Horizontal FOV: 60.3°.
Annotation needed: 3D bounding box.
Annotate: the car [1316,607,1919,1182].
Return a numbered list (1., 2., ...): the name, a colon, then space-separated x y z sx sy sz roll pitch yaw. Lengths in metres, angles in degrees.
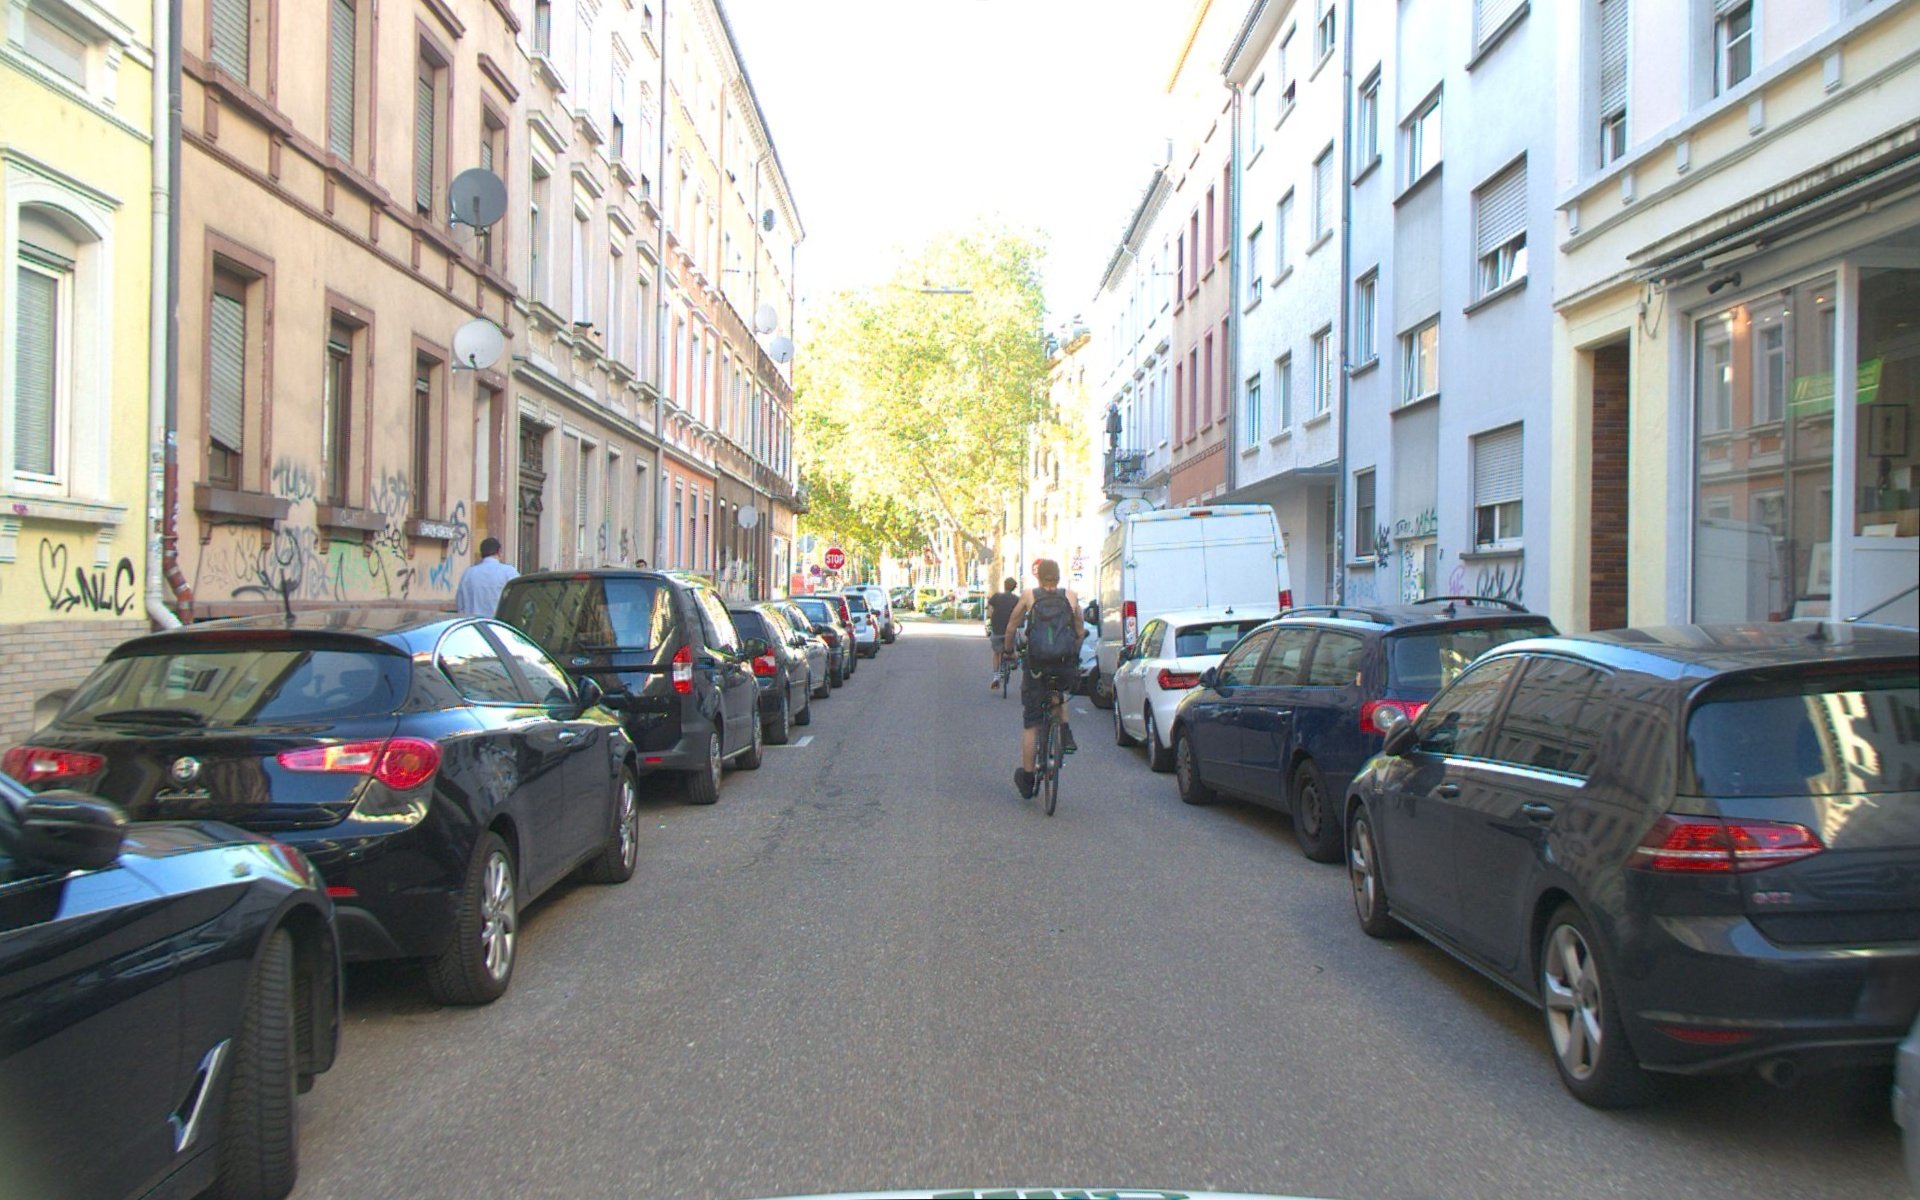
1. car: 2.762 0.804 6.597 1.710 1.511 4.242 0 0 -1

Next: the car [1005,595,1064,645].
1. car: 2.392 0.627 53.762 1.619 1.557 3.573 0 0 -2

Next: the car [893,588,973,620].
1. car: -1.517 0.211 92.466 4.382 1.790 1.864 0 0 -5

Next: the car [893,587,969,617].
1. car: -1.712 0.113 97.221 4.382 1.725 1.864 0 0 -5

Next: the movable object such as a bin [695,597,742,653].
1. movable object such as a bin: -5.245 0.540 35.966 0.817 1.146 0.716 -4 0 1

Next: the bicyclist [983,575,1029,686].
1. bicyclist: 0.702 0.460 25.443 0.656 1.687 0.877 0 0 -1

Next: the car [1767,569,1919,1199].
1. car: 2.877 0.741 1.927 1.659 1.636 4.374 -1 0 -1

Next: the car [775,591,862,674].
1. car: -2.809 0.610 33.373 1.572 1.557 3.377 -1 0 -2

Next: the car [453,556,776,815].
1. car: -2.606 0.586 13.402 1.764 1.728 3.999 -2 0 -1

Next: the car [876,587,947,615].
1. car: -3.041 0.055 103.790 4.382 1.725 1.864 0 0 -5

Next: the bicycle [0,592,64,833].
1. bicycle: -5.398 0.594 8.166 0.654 1.267 2.326 4 0 -1

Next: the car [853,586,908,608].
1. car: -6.384 -0.239 132.562 4.382 1.725 1.864 0 0 -5

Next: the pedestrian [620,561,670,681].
1. pedestrian: -5.122 0.337 26.902 0.598 1.890 0.754 3 0 -1

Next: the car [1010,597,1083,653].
1. car: 2.398 0.664 46.654 1.676 1.496 3.998 0 0 -2

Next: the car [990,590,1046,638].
1. car: 2.211 0.507 63.981 1.855 1.800 3.998 0 0 -3

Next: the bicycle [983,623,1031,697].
1. bicycle: 0.712 0.901 25.486 0.650 1.055 1.958 0 0 -1

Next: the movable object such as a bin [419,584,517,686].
1. movable object such as a bin: -5.501 0.383 18.518 0.773 1.042 0.757 5 0 1

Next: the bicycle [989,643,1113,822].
1. bicycle: 0.635 0.922 12.203 0.725 1.120 2.041 2 0 -1

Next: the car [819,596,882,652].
1. car: -2.903 0.617 44.511 1.521 1.424 3.667 0 0 -1

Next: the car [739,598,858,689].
1. car: -2.696 0.687 28.415 1.671 1.438 4.301 0 0 -1

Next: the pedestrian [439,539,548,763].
1. pedestrian: -3.997 0.427 14.225 0.637 1.849 0.754 3 0 0

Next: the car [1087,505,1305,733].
1. car: 2.918 0.199 21.878 2.159 2.595 6.037 0 0 1

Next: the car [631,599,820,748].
1. car: -2.499 0.736 18.382 1.559 1.465 3.653 0 0 0

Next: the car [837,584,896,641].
1. car: -2.952 0.376 52.948 1.751 1.767 3.875 0 0 -1

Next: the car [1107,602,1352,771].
1. car: 2.537 0.765 16.429 1.690 1.454 3.831 0 0 -2

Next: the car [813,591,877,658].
1. car: -2.822 0.564 40.748 1.514 1.578 3.462 0 0 -4

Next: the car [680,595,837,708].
1. car: -2.751 0.661 23.355 1.639 1.455 3.889 0 0 1

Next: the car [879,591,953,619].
1. car: -2.708 0.306 101.286 4.382 1.725 1.864 0 0 -5

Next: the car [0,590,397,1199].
1. car: -2.425 0.739 2.383 1.824 1.465 4.643 0 1 -3

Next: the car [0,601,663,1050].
1. car: -2.536 0.746 7.443 1.701 1.452 3.999 0 0 -1

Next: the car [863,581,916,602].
1. car: -5.893 -0.682 138.779 4.382 1.725 1.864 0 0 -5

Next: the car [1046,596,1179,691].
1. car: 2.542 0.695 28.402 1.697 1.496 4.018 0 0 -3

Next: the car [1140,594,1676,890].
1. car: 2.773 0.769 11.487 1.778 1.503 4.597 -3 1 -10

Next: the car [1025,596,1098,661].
1. car: 2.494 0.666 41.198 1.559 1.518 3.875 0 0 0

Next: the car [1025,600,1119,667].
1. car: 2.383 0.698 36.105 1.624 1.362 3.998 0 0 -2

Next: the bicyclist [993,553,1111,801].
1. bicyclist: 0.655 0.535 12.146 0.725 1.708 1.116 2 0 -1

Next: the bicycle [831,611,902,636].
1. bicycle: -3.524 0.881 62.446 2.661 0.908 0.618 0 0 -3

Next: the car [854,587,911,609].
1. car: -6.123 -0.144 130.326 4.382 1.725 1.864 0 0 -5
